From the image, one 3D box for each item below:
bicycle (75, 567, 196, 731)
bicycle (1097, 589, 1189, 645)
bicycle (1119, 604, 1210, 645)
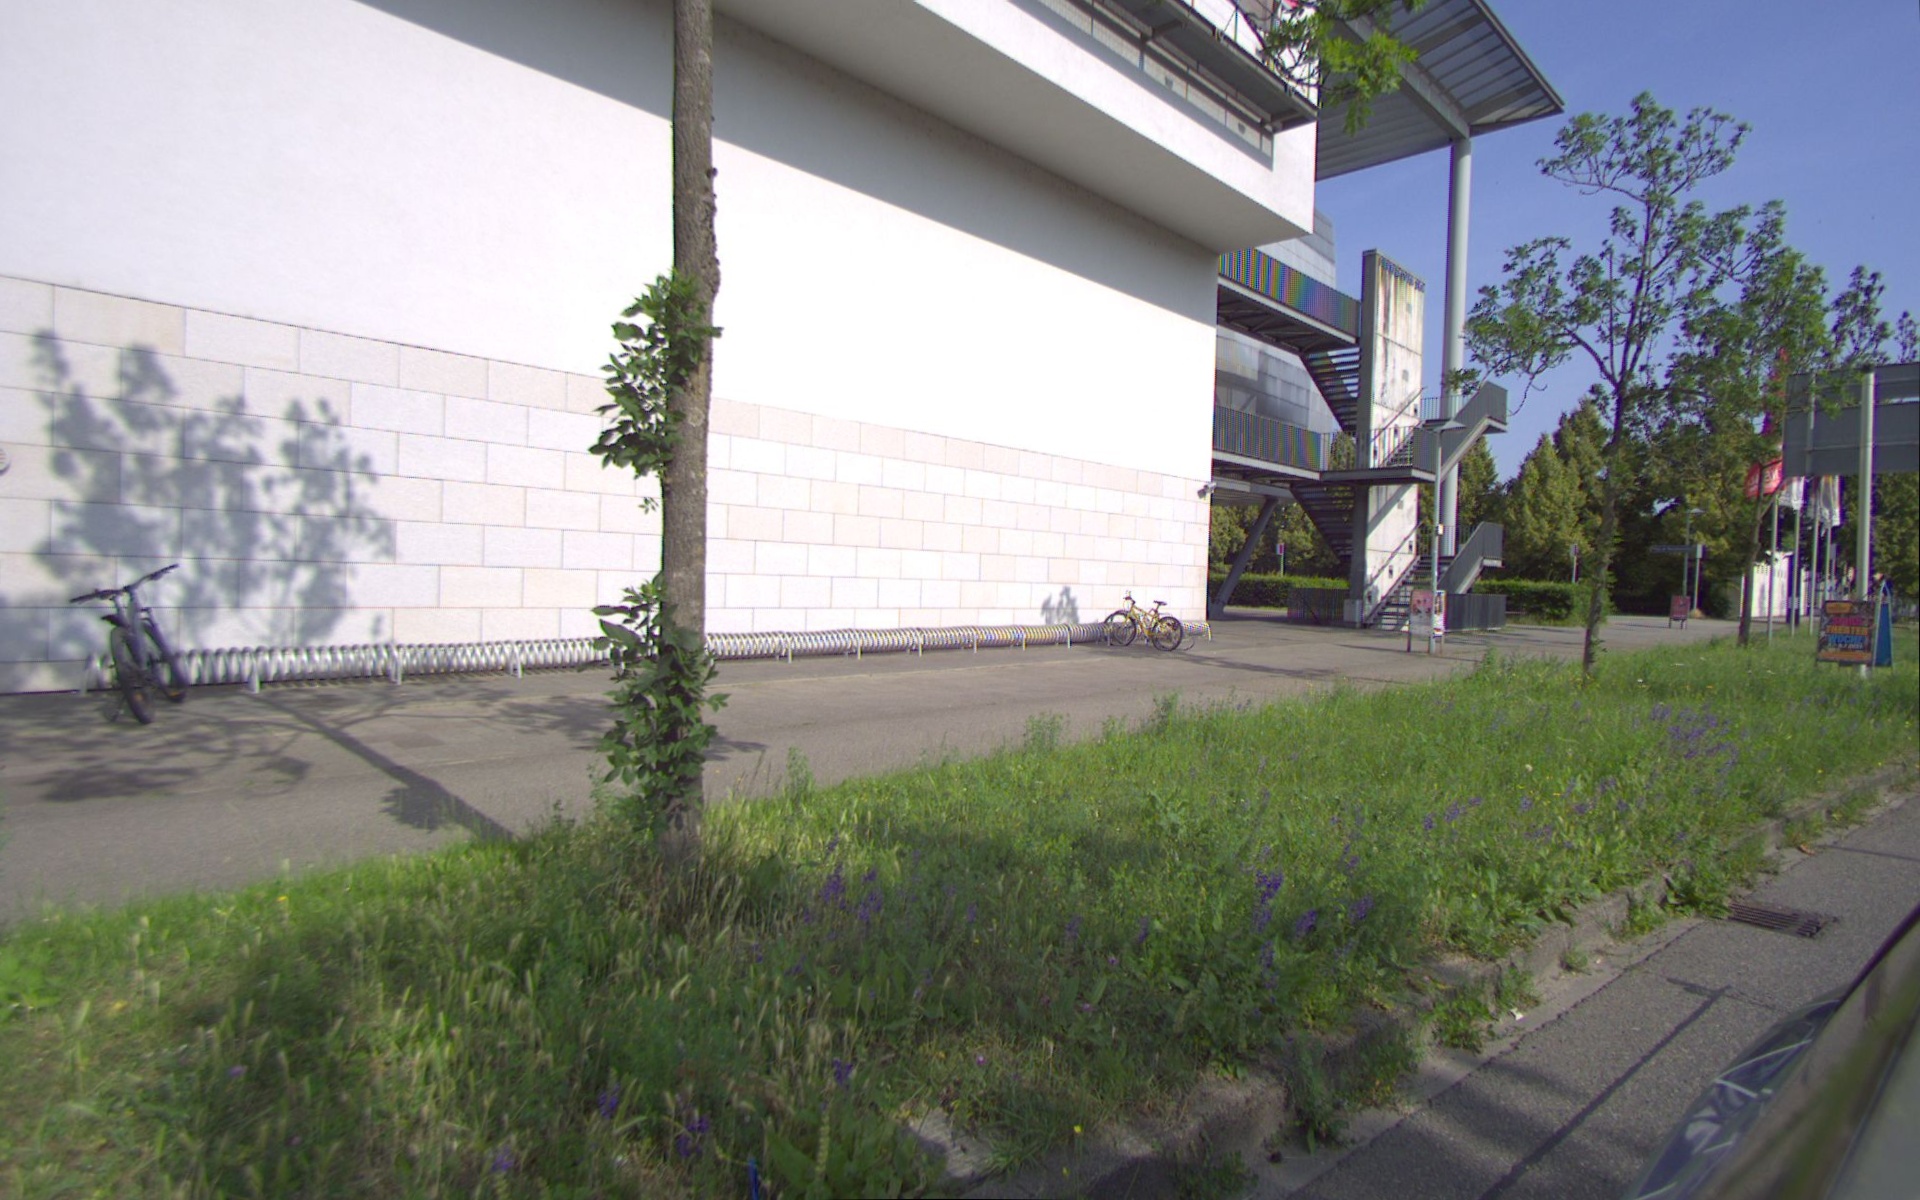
[{"bbox_3d":[-6.540,0.317,8.027,0.663,1.116,2.013,0,2,-40],"label":"bicycle"},{"bbox_3d":[3.325,0.291,18.494,0.474,0.926,1.659,0,2,-44],"label":"bicycle"},{"bbox_3d":[3.818,0.450,18.973,0.529,0.653,1.659,0,2,-44],"label":"bicycle"}]
